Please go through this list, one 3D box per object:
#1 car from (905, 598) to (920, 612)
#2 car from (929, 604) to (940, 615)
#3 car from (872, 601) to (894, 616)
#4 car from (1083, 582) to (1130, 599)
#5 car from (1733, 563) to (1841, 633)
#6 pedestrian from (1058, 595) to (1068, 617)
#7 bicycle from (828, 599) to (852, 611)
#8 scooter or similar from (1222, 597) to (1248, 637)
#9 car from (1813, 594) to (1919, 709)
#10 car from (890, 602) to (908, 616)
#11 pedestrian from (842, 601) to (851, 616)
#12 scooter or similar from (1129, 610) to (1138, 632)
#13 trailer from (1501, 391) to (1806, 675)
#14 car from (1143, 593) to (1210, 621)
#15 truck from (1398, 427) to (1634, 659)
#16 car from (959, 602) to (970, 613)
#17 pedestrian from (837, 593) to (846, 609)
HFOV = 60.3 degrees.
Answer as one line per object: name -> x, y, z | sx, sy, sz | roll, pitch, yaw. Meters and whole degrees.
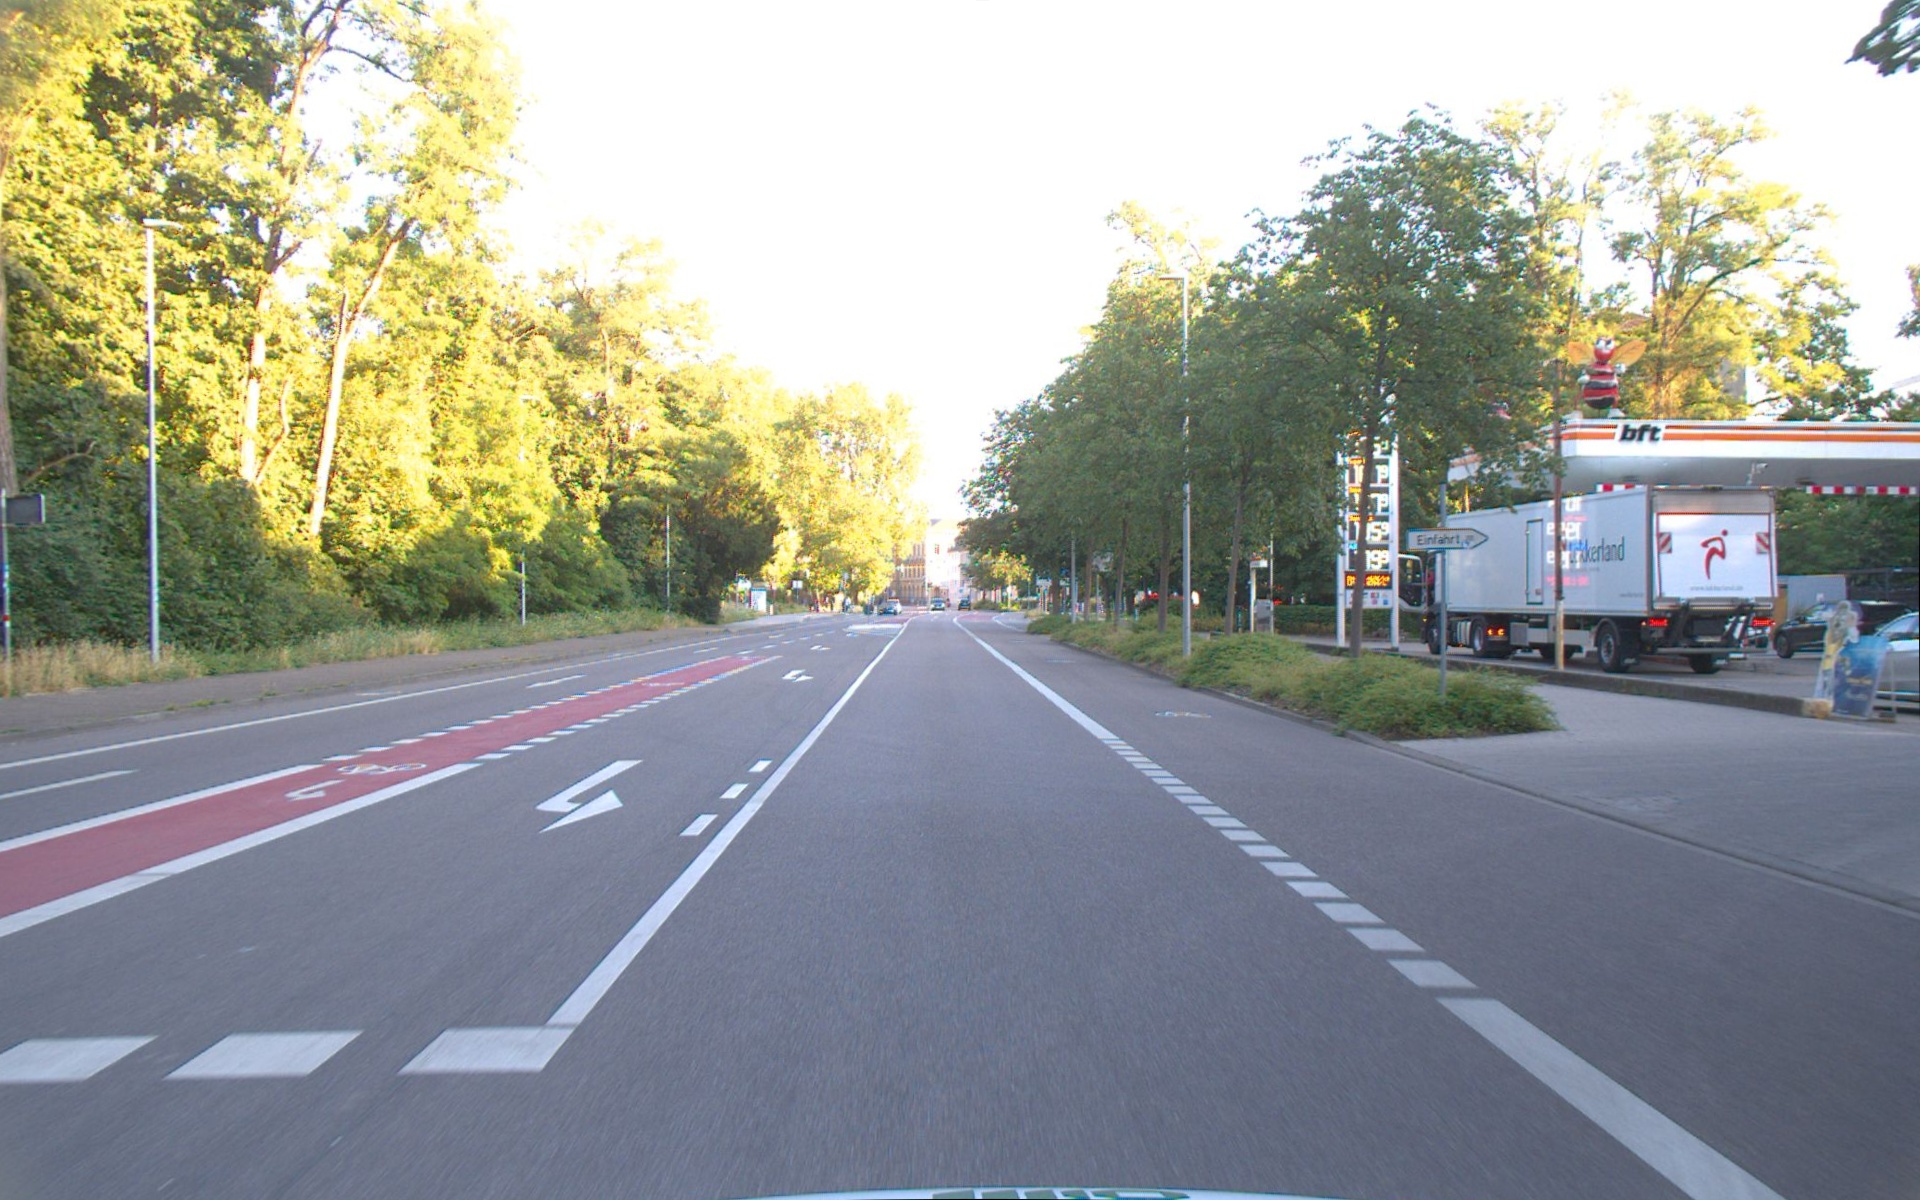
car -> -5.024, 0.514, 174.707 | 1.462, 1.512, 3.490 | 0, 0, 0
car -> -3.395, 1.233, 220.267 | 1.462, 1.512, 3.490 | 0, 0, 0
car -> -7.443, 0.795, 159.934 | 1.760, 1.478, 4.128 | 0, 0, 1
car -> 13.879, -0.894, 156.407 | 4.364, 1.618, 1.716 | 0, 0, 6
car -> 29.966, -0.075, 60.084 | 1.733, 2.388, 4.623 | 1, 0, 2
pedestrian -> 8.181, 0.494, 131.920 | 0.754, 1.770, 0.731 | 0, 0, -1
bicycle -> -12.635, 0.530, 173.887 | 2.410, 1.216, 0.757 | 0, 0, 9
scooter or similar -> 9.001, 0.547, 54.230 | 0.585, 1.304, 1.468 | 0, 0, -1
car -> 14.350, 0.737, 23.881 | 1.733, 1.611, 4.820 | 1, 0, 2
car -> -6.565, 0.955, 178.179 | 1.760, 1.478, 4.128 | 0, 0, 1
pedestrian -> -12.348, 0.918, 180.469 | 0.774, 1.608, 0.746 | 1, 0, 8
scooter or similar -> 8.544, 1.047, 81.614 | 0.304, 1.060, 0.980 | -1, 0, -1
trailer -> 14.930, -1.342, 36.438 | 2.961, 5.557, 7.928 | 0, 0, -4
car -> 15.677, 0.517, 119.857 | 4.806, 2.025, 1.923 | 0, 0, 6
truck -> 14.453, -1.386, 43.869 | 2.973, 5.551, 8.403 | 0, 0, -4
car -> 0.589, 1.071, 230.212 | 1.462, 1.512, 3.490 | 0, 0, 0
pedestrian -> -12.477, 0.127, 173.857 | 0.774, 1.608, 0.746 | 1, 0, 8
